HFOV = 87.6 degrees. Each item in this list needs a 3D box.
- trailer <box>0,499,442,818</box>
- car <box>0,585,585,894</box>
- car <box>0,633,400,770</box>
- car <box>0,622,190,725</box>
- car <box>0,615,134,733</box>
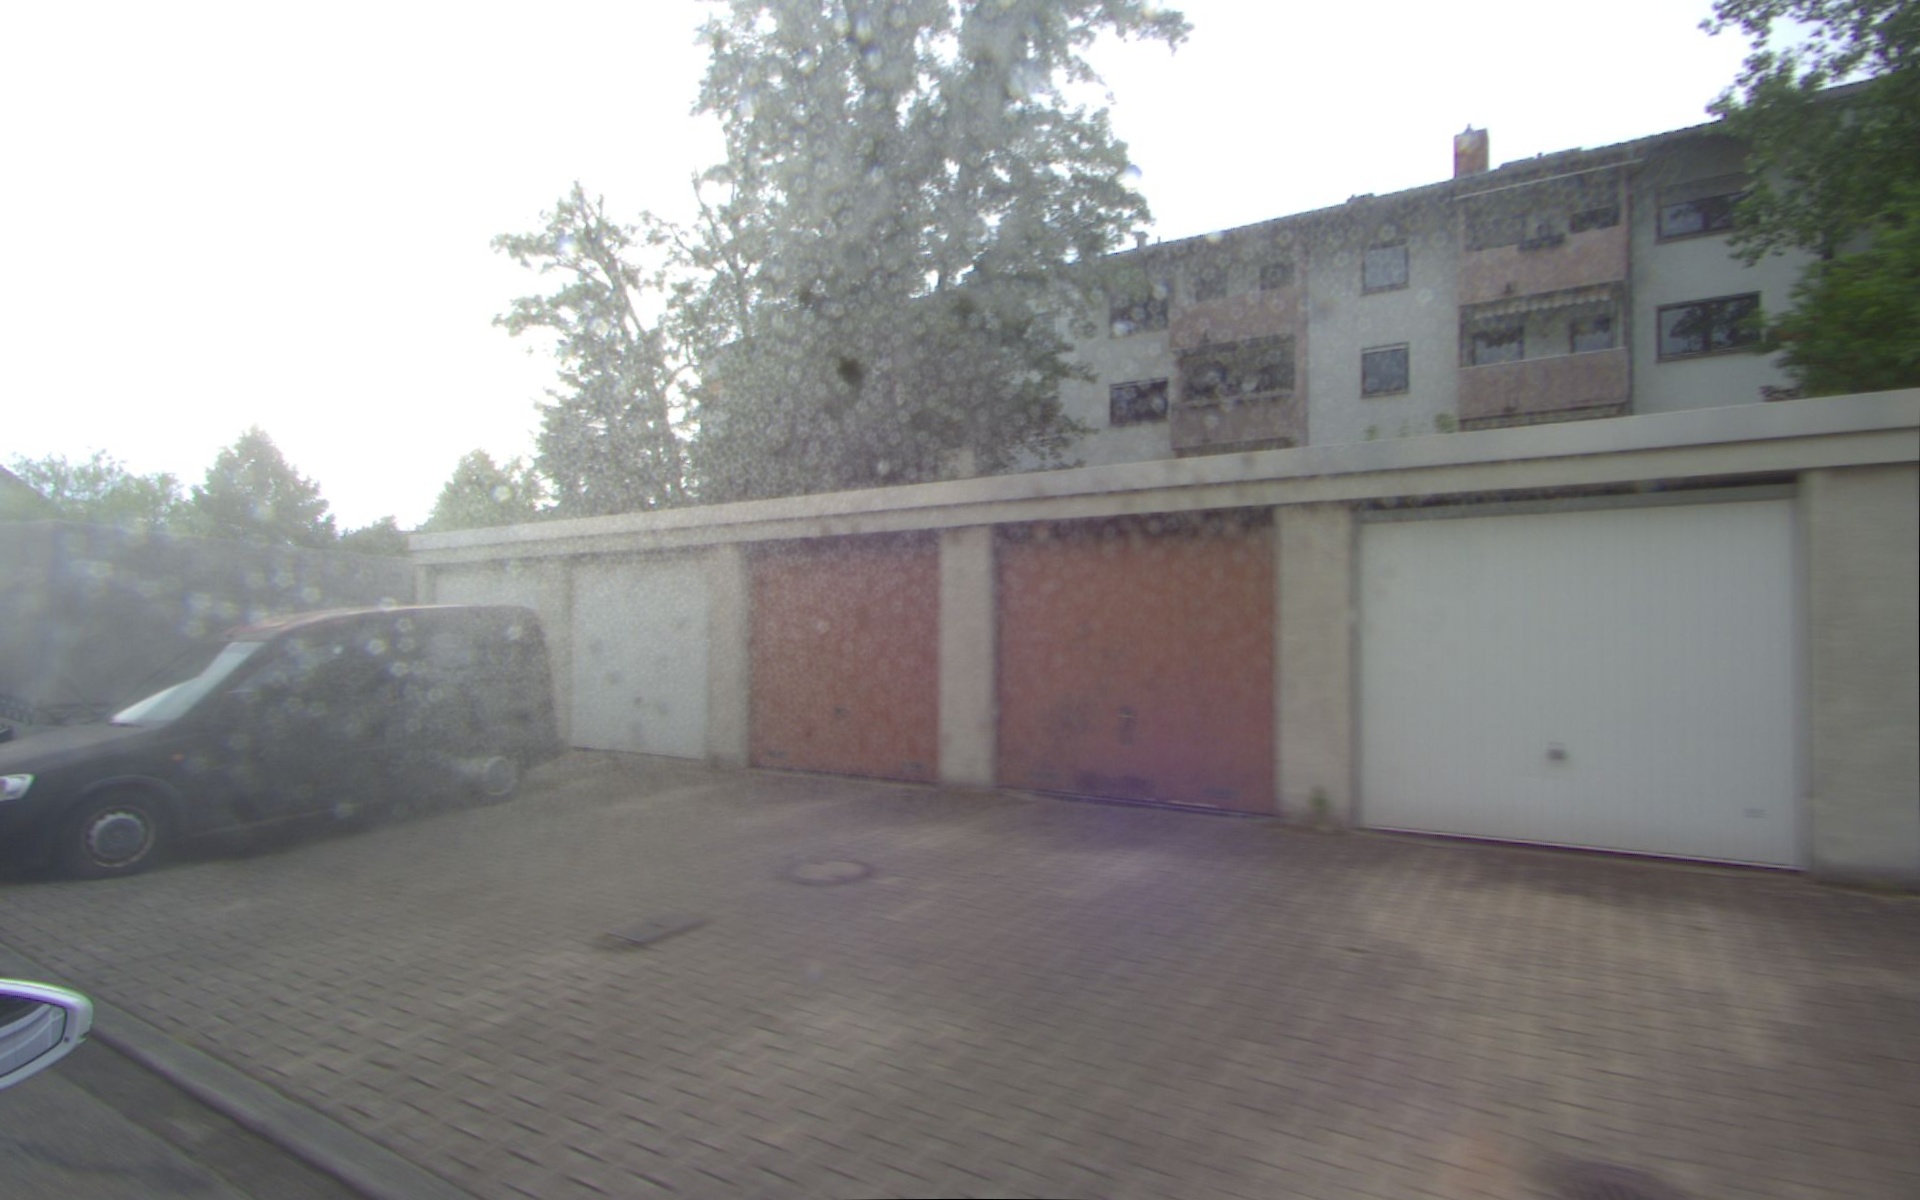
[{"bbox_3d":[-7.789,0.533,9.646,1.915,2.557,4.602,0,-2,33],"label":"trailer"},{"bbox_3d":[-5.485,0.824,8.096,1.971,1.826,4.302,0,0,32],"label":"car"},{"bbox_3d":[-9.739,1.160,12.931,1.589,1.467,4.121,0,-2,32],"label":"car"},{"bbox_3d":[-15.722,1.172,16.420,1.961,1.609,4.527,0,-2,34],"label":"car"},{"bbox_3d":[-13.930,1.009,13.412,1.965,1.572,3.992,0,0,19],"label":"car"}]
